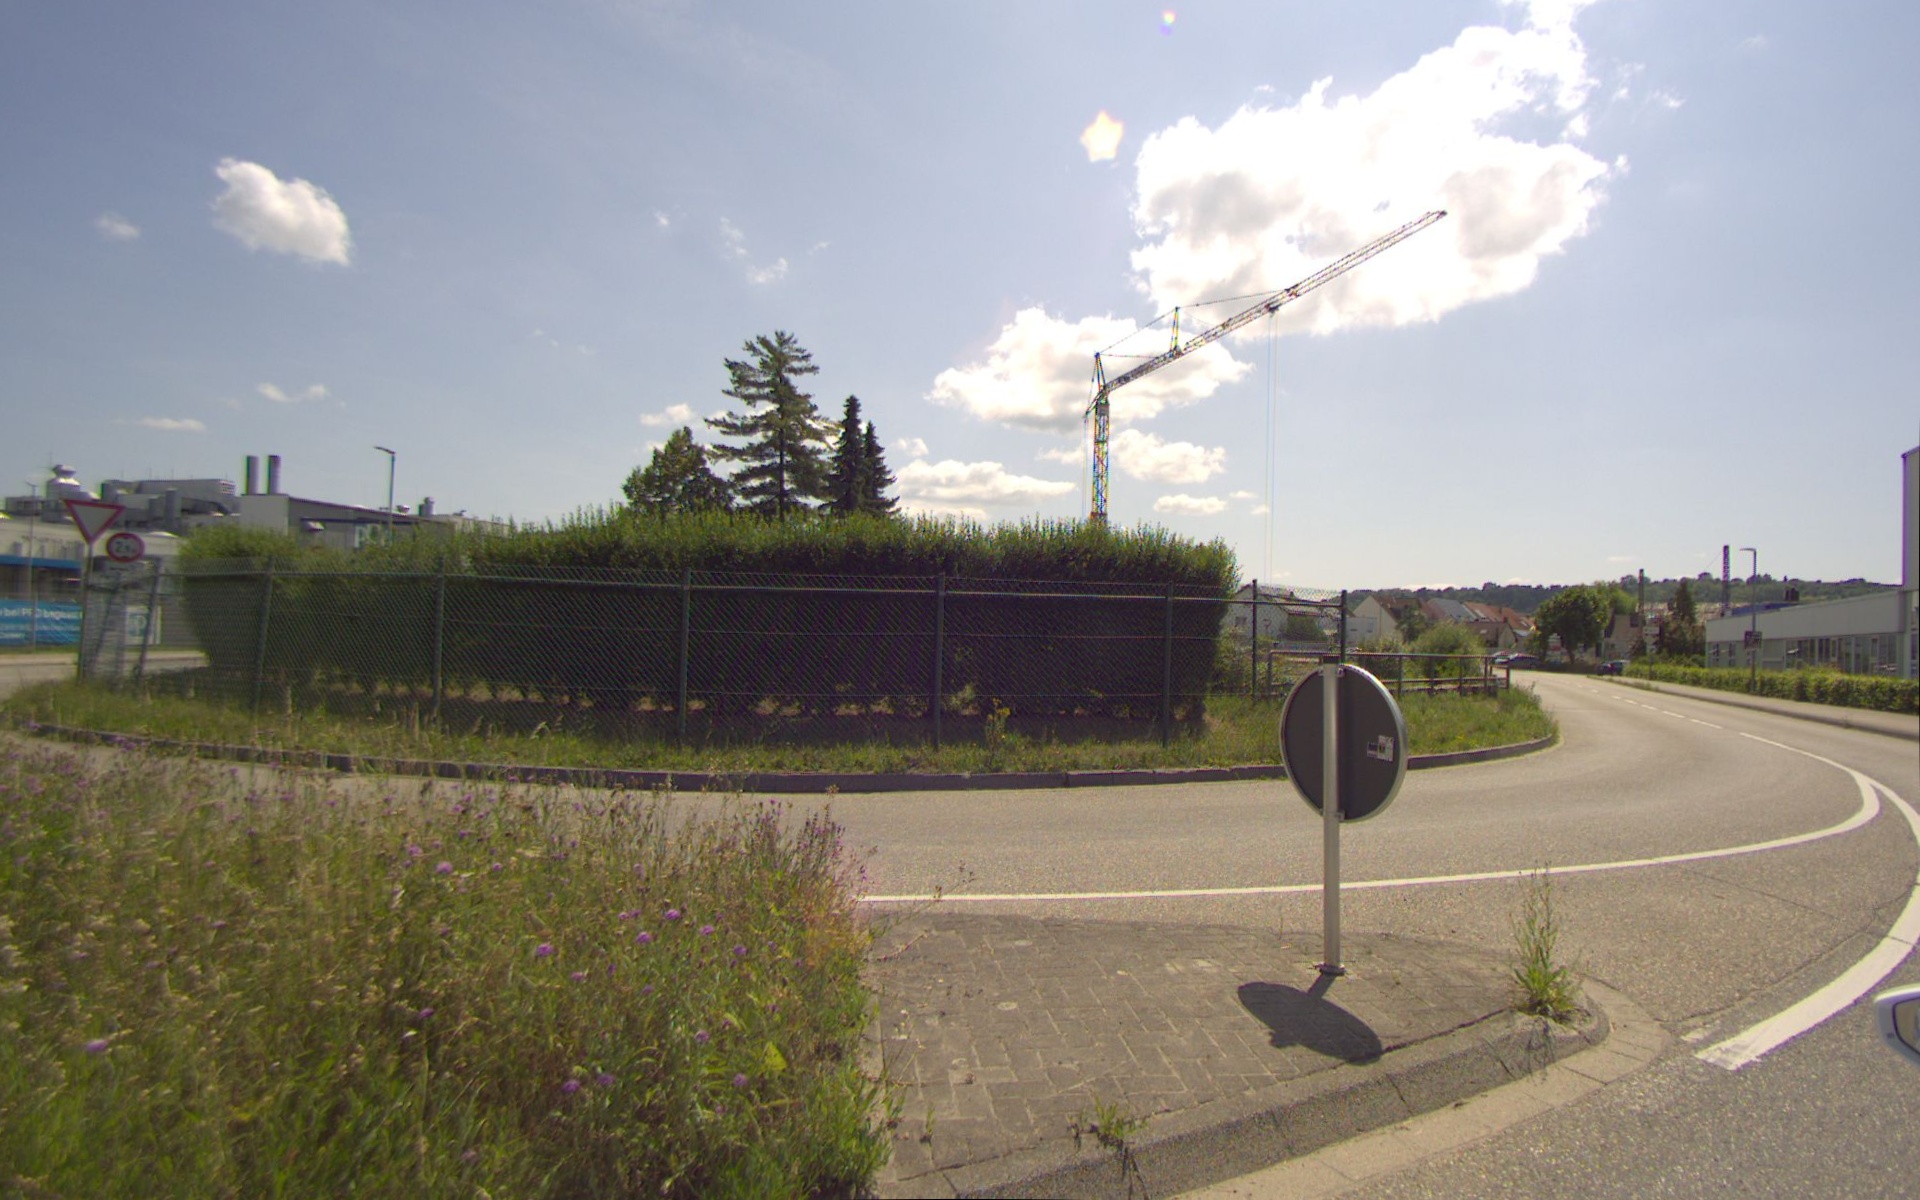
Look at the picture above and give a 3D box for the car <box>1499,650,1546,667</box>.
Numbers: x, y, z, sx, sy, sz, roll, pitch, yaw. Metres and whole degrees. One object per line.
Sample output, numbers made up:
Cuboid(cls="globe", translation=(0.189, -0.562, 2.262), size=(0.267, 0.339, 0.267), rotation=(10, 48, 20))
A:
Cuboid(cls="car", translation=(59.711, 6.193, 106.727), size=(4.118, 1.482, 1.665), rotation=(3, -2, 19))
